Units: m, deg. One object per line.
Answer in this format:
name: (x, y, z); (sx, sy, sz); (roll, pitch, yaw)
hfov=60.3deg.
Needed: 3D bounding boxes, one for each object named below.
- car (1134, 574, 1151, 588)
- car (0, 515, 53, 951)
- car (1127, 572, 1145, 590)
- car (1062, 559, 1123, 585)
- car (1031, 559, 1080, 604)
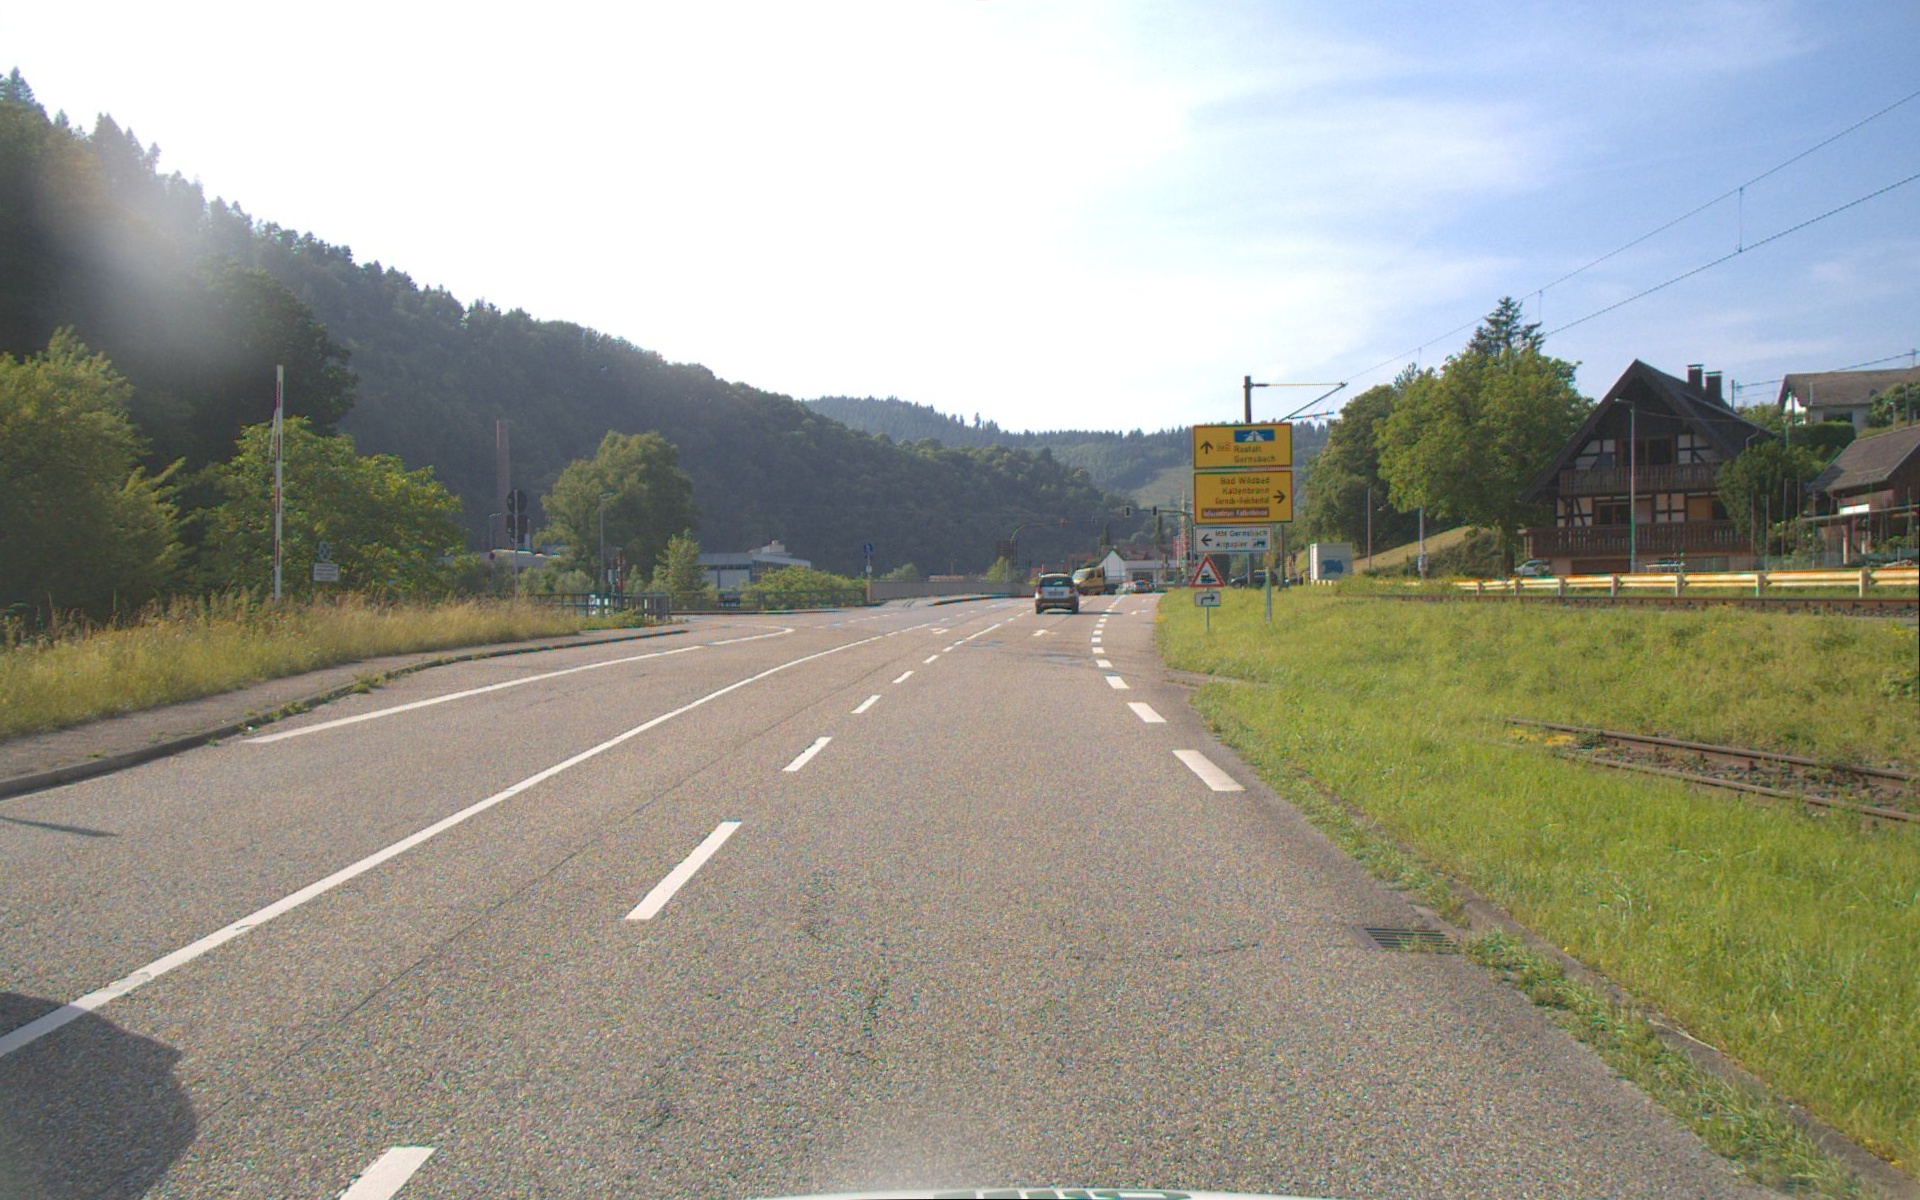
car: (22.687, -2.345, 205.842); (1.951, 1.646, 4.003); (-2, 1, 6)
car: (-4.381, 0.498, 4.267); (1.810, 1.612, 4.314); (1, 1, -2)
car: (20.543, -2.213, 193.129); (1.951, 2.048, 4.003); (-2, 1, 6)
car: (11.476, -2.435, 143.273); (5.243, 2.048, 1.973); (-3, 0, -38)
car: (4.075, -0.780, 70.699); (1.952, 1.753, 3.991); (-3, 0, 3)
